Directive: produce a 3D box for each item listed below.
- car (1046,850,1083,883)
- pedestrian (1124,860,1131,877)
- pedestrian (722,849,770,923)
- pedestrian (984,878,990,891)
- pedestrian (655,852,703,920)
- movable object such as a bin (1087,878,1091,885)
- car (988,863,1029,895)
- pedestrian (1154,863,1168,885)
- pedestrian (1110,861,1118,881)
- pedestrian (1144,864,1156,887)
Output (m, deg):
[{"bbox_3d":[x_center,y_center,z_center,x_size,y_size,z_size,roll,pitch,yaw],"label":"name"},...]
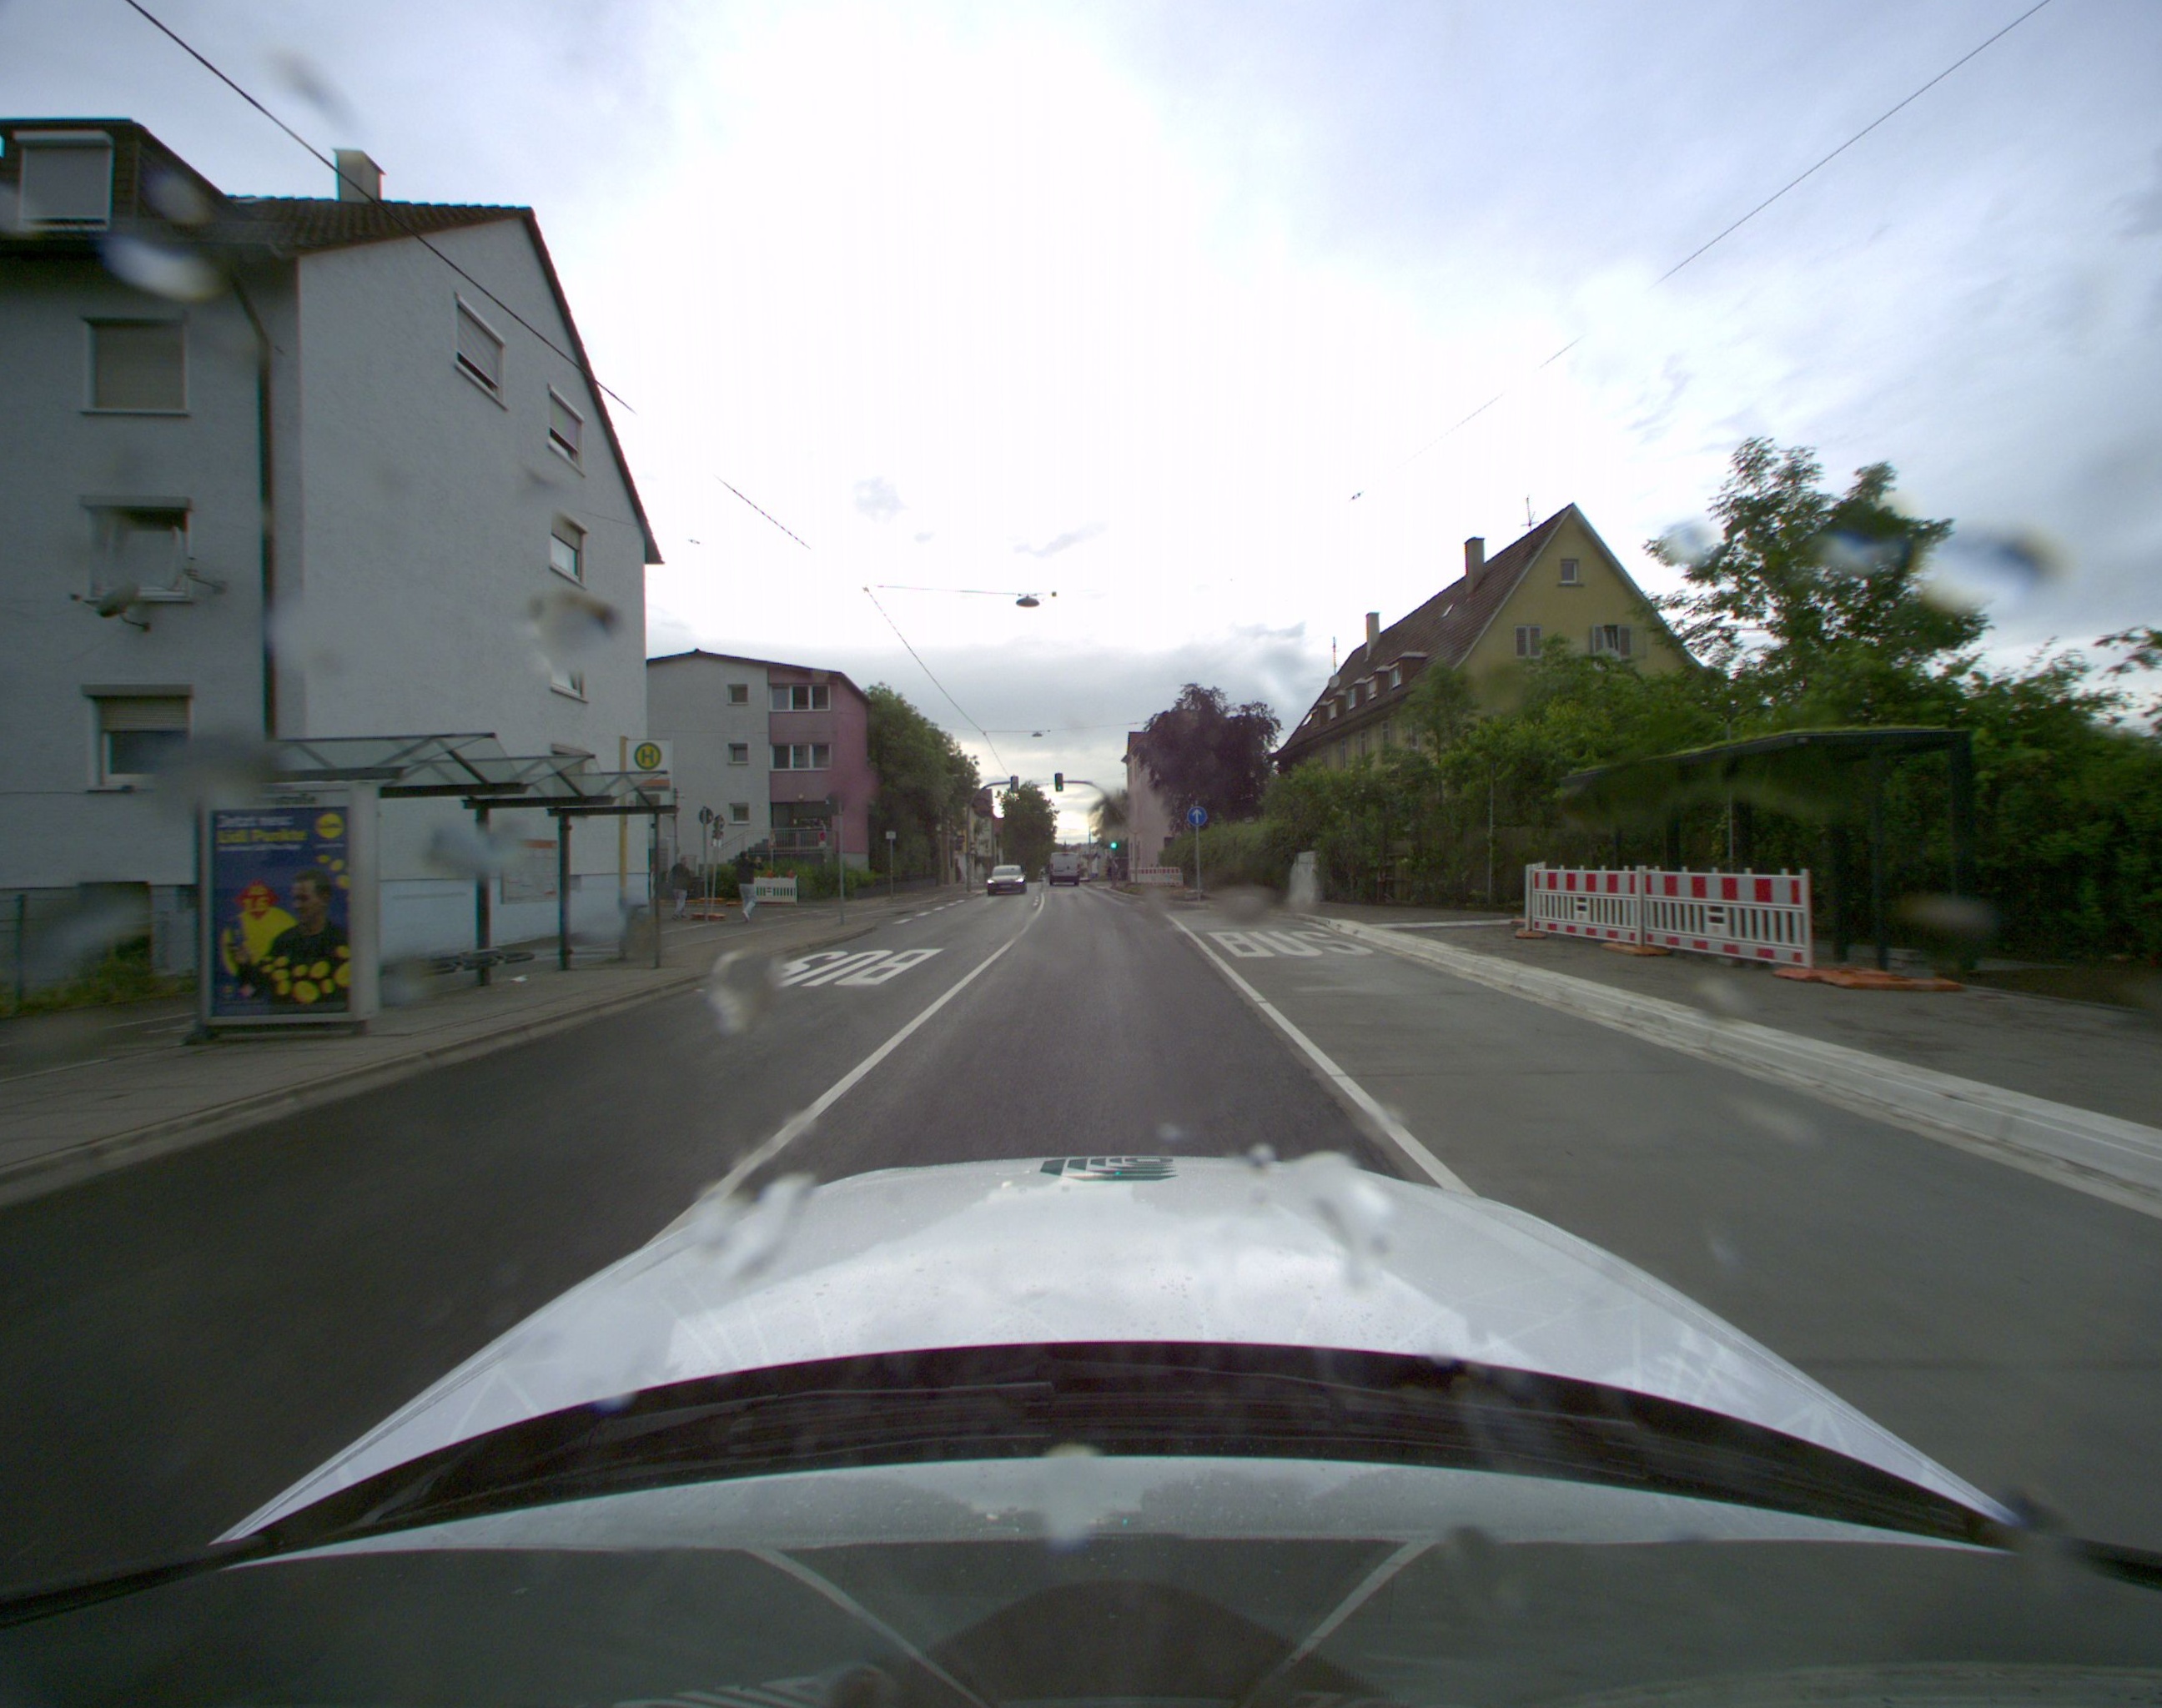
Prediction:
[{"bbox_3d":[-1.227,0.909,57.757,2.342,2.160,4.769,-1,-1,-5],"label":"car"},{"bbox_3d":[4.975,1.575,87.071,0.642,1.831,0.744,-3,-2,11],"label":"pedestrian"},{"bbox_3d":[-8.929,0.833,21.737,0.860,1.882,1.042,-2,0,-4],"label":"pedestrian"},{"bbox_3d":[-12.417,3.989,107.762,0.814,1.680,0.991,0,-3,-5],"label":"pedestrian"},{"bbox_3d":[-11.202,0.873,22.702,0.804,1.821,1.115,0,0,-3],"label":"pedestrian"},{"bbox_3d":[1.402,4.786,142.124,0.693,1.082,0.778,-4,-3,-2],"label":"movable object such as a bin"},{"bbox_3d":[-3.580,1.206,40.900,1.779,1.452,4.386,-1,0,-2],"label":"car"},{"bbox_3d":[5.578,1.405,56.722,0.872,1.561,1.049,0,-2,1],"label":"pedestrian"},{"bbox_3d":[3.148,1.641,77.676,0.482,1.875,0.636,-5,-2,29],"label":"pedestrian"},{"bbox_3d":[4.927,1.513,57.962,0.781,1.642,1.222,0,-2,2],"label":"pedestrian"}]
